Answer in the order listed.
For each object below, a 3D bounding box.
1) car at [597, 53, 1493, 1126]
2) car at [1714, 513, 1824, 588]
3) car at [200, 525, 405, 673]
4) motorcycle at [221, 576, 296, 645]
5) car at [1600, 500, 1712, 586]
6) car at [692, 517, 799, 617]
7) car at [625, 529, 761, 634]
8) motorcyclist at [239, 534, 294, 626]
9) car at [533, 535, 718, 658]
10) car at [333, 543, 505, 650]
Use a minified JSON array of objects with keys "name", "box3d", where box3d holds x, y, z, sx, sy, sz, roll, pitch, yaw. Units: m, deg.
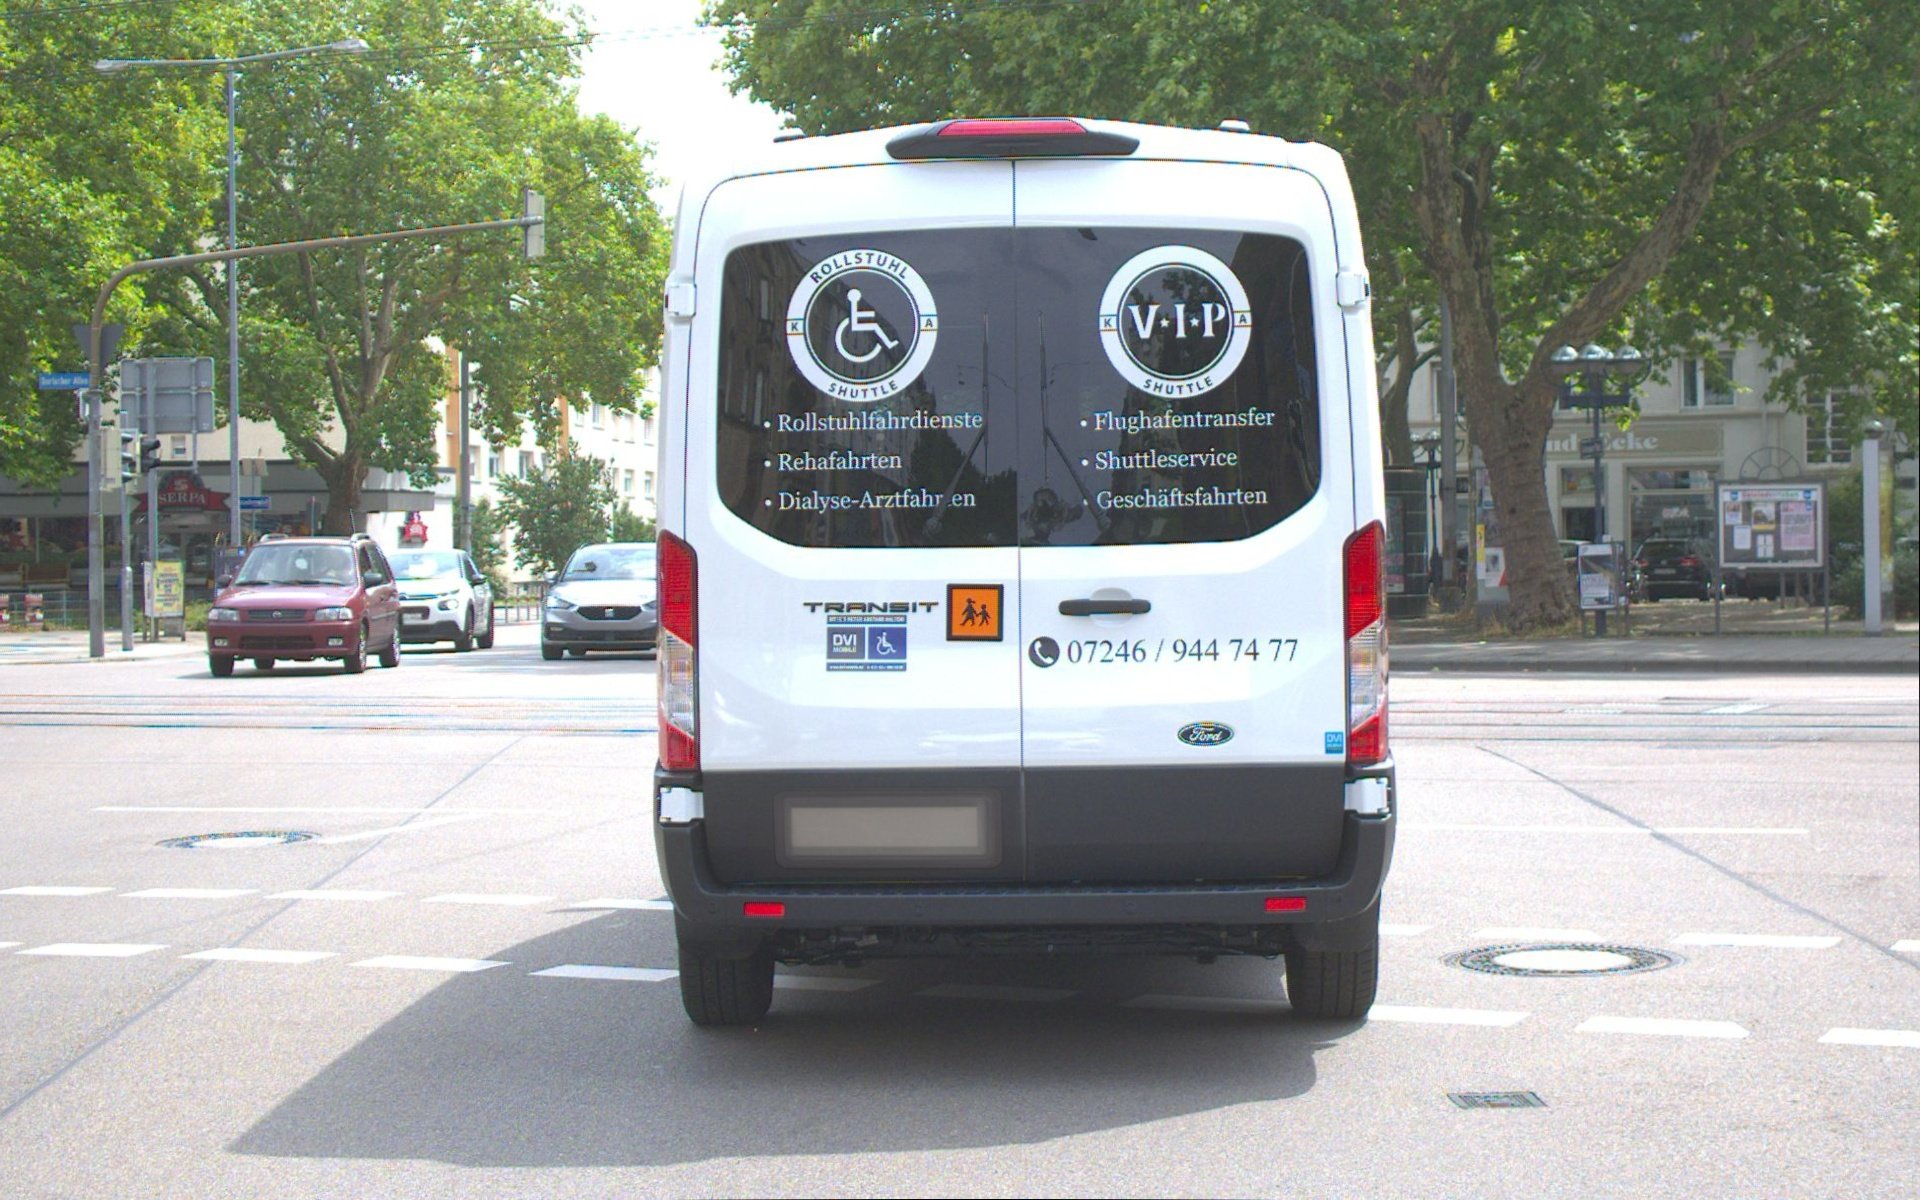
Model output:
[{"name":"car","box3d":[0.117,-0.104,11.025,2.181,2.638,4.629,-2,2,-3]},{"name":"car","box3d":[18.731,-1.156,79.755,1.805,1.678,4.000,-1,1,3]},{"name":"car","box3d":[-7.116,-0.050,37.503,1.592,1.502,3.807,-1,1,-2]},{"name":"motorcycle","box3d":[-10.523,0.153,51.640,0.683,0.968,2.324,-1,1,-1]},{"name":"car","box3d":[16.227,-1.349,80.303,1.994,1.924,4.000,-1,1,3]},{"name":"car","box3d":[-4.272,-0.687,68.941,1.743,1.924,4.854,-1,1,1]},{"name":"car","box3d":[-4.203,-0.329,54.608,1.743,1.582,4.329,-1,1,1]},{"name":"motorcyclist","box3d":[-10.550,-0.308,52.287,0.683,1.390,0.682,-1,1,-1]},{"name":"car","box3d":[-4.110,-0.075,42.816,1.832,1.422,4.121,-1,1,1]},{"name":"car","box3d":[-7.673,-0.085,49.086,1.743,1.422,4.032,-1,1,1]}]
